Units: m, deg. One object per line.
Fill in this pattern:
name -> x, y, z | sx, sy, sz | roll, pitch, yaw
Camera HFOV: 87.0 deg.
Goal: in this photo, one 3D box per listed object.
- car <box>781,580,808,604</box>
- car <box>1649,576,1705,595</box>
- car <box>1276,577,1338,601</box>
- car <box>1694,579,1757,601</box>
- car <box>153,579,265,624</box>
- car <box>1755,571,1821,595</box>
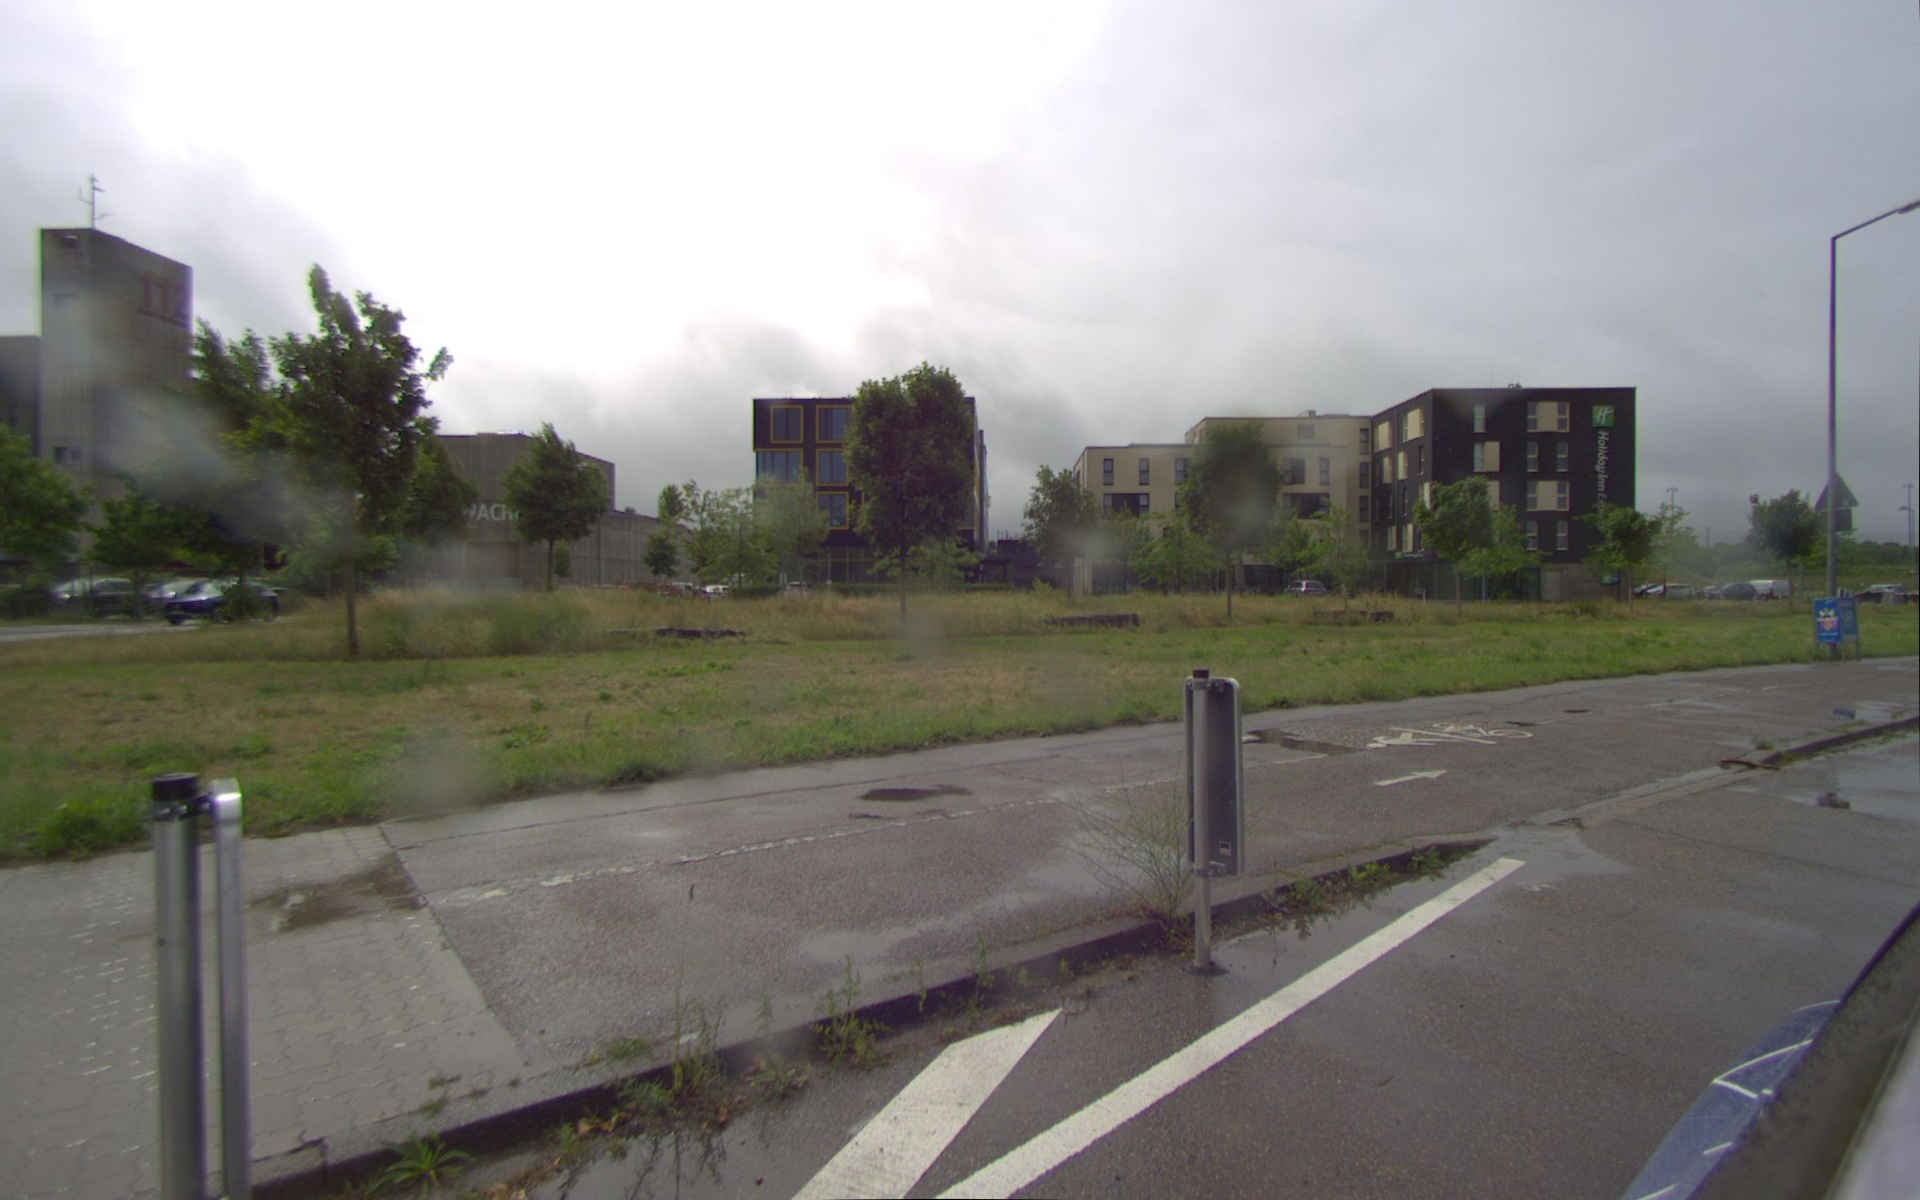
car -> -11.336, -0.580, 69.408 | 1.615, 1.603, 3.672 | 0, 0, -5
car -> 61.846, -1.256, 87.355 | 3.591, 1.631, 1.596 | 0, 0, 10
car -> 22.997, -0.732, 67.044 | 3.591, 1.603, 1.652 | 0, 0, -16
car -> 60.620, -0.795, 80.157 | 3.595, 1.682, 1.643 | 0, 0, 14
car -> -28.753, 0.047, 38.868 | 1.570, 1.631, 3.598 | 0, 0, 2
car -> 72.408, -1.494, 88.538 | 3.931, 2.039, 1.997 | 0, 0, 7
